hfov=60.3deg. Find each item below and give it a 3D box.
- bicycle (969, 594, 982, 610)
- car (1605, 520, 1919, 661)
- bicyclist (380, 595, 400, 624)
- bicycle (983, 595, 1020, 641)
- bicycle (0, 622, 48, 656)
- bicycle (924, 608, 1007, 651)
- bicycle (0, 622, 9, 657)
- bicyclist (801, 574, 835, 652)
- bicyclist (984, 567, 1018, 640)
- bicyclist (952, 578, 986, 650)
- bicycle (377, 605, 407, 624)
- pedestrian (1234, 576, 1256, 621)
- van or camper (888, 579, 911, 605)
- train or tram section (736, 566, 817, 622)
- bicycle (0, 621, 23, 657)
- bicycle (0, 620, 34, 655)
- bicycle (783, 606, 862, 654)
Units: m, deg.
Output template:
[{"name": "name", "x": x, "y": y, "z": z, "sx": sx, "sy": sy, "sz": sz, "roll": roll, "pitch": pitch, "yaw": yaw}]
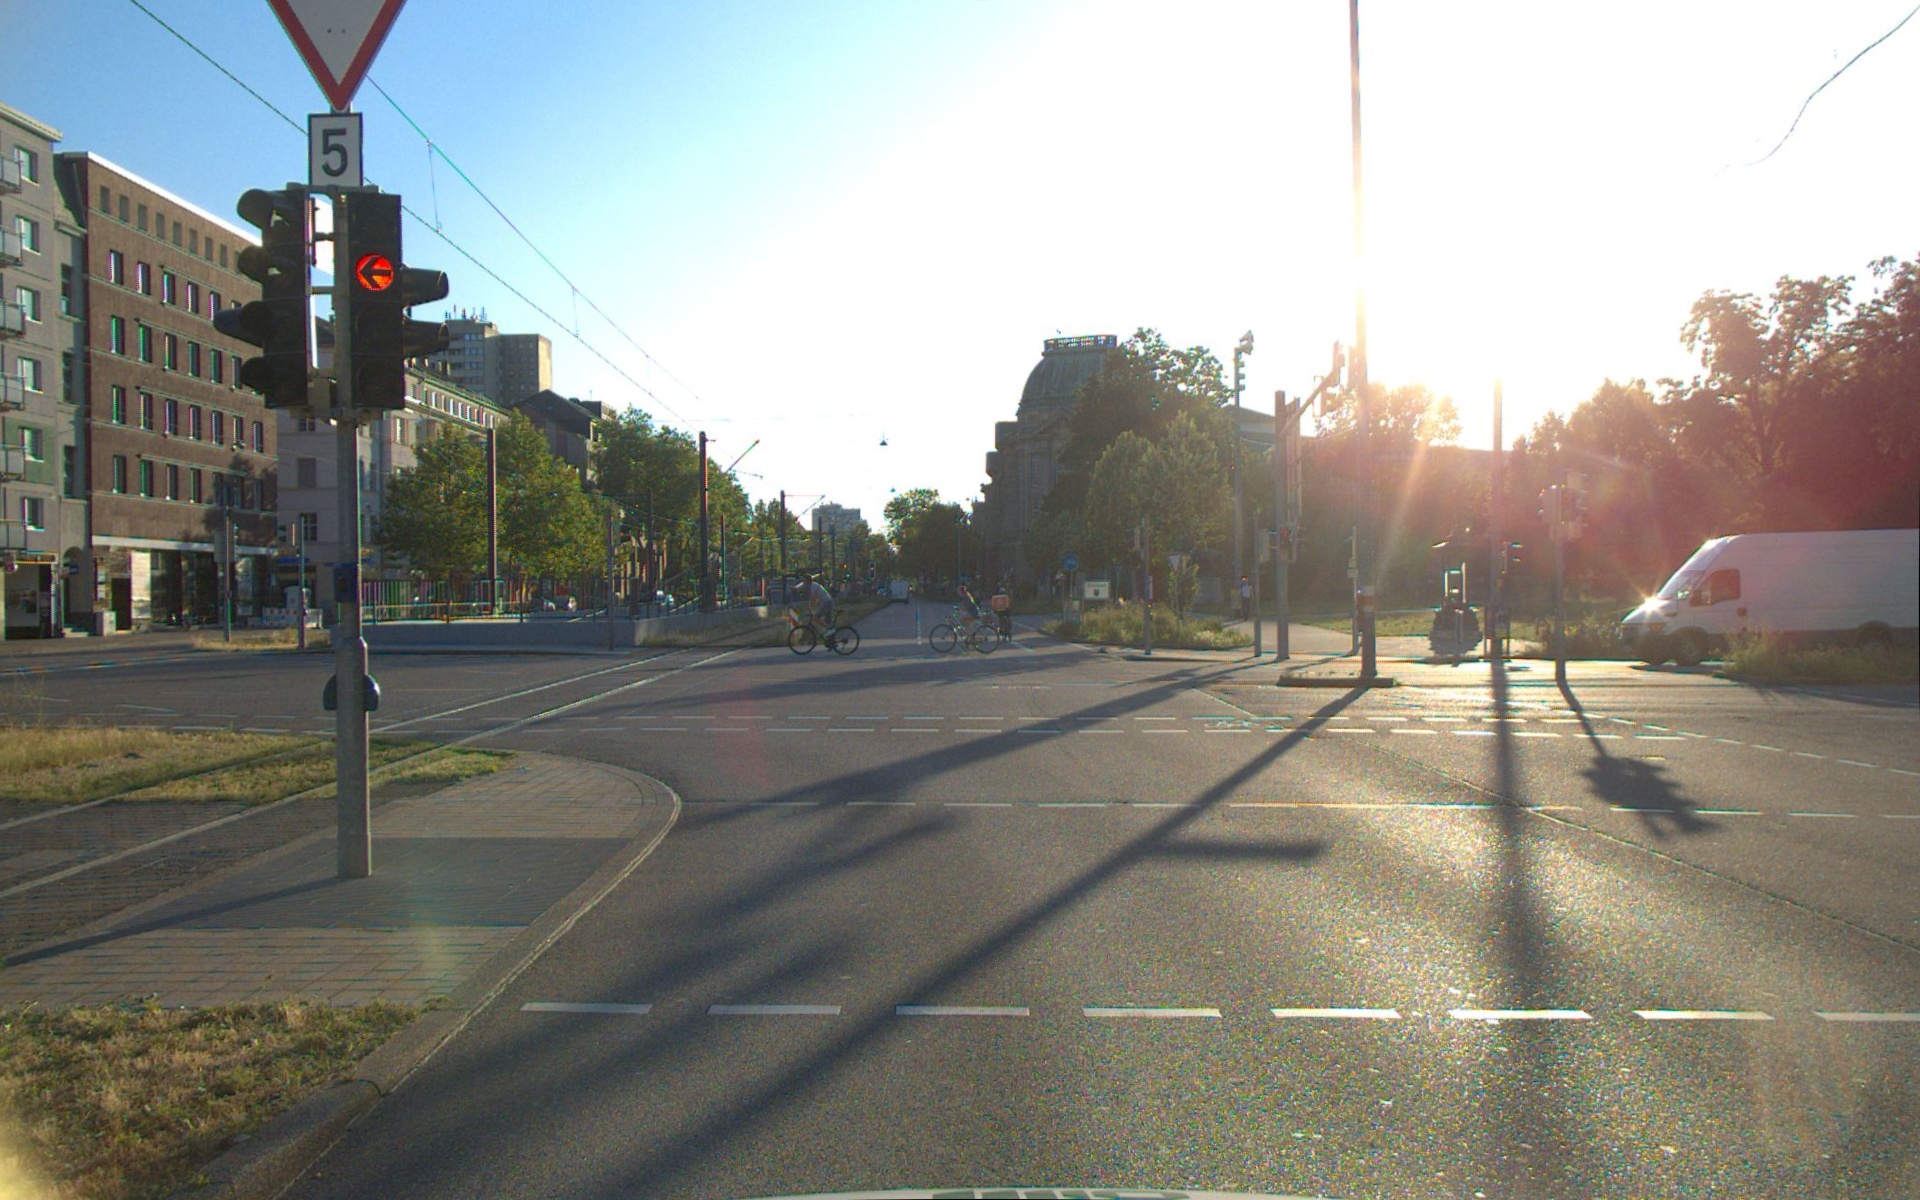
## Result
[{"name": "bicycle", "x": 1.138, "y": 0.120, "z": 120.737, "sx": 0.905, "sy": 1.131, "sz": 2.332, "roll": -1, "pitch": 0, "yaw": -1}, {"name": "car", "x": 17.794, "y": -0.212, "z": 35.754, "sx": 6.866, "sy": 2.877, "sz": 2.093, "roll": -1, "pitch": 0, "yaw": 1}, {"name": "bicyclist", "x": -29.471, "y": 0.478, "z": 85.479, "sx": 0.489, "sy": 1.451, "sz": 0.857, "roll": -1, "pitch": 0, "yaw": 23}, {"name": "bicycle", "x": 1.323, "y": 0.561, "z": 53.208, "sx": 1.075, "sy": 1.423, "sz": 2.831, "roll": -1, "pitch": 0, "yaw": -1}, {"name": "bicycle", "x": -32.857, "y": 1.371, "z": 57.733, "sx": 1.655, "sy": 1.164, "sz": 0.697, "roll": -1, "pitch": 0, "yaw": 1}, {"name": "bicycle", "x": 0.139, "y": 0.754, "z": 42.767, "sx": 2.120, "sy": 1.102, "sz": 0.538, "roll": 0, "pitch": -1, "yaw": -3}, {"name": "bicycle", "x": -32.932, "y": 1.334, "z": 55.471, "sx": 1.655, "sy": 1.173, "sz": 0.705, "roll": -1, "pitch": 0, "yaw": 1}, {"name": "bicyclist", "x": -3.410, "y": 0.318, "z": 39.790, "sx": 0.778, "sy": 1.850, "sz": 0.645, "roll": -1, "pitch": 0, "yaw": -7}, {"name": "bicyclist", "x": 1.315, "y": 0.121, "z": 53.085, "sx": 1.060, "sy": 2.316, "sz": 0.986, "roll": 0, "pitch": 0, "yaw": -1}, {"name": "bicyclist", "x": 0.225, "y": 0.364, "z": 42.774, "sx": 0.858, "sy": 1.850, "sz": 0.538, "roll": 0, "pitch": 0, "yaw": -2}, {"name": "bicycle", "x": -29.412, "y": 0.732, "z": 85.629, "sx": 0.497, "sy": 0.961, "sz": 1.667, "roll": -1, "pitch": 0, "yaw": 23}, {"name": "pedestrian", "x": 11.883, "y": -0.068, "z": 68.845, "sx": 0.815, "sy": 1.835, "sz": 0.811, "roll": -1, "pitch": 0, "yaw": 14}, {"name": "van or camper", "x": -6.623, "y": -0.869, "z": 180.699, "sx": 2.400, "sy": 2.819, "sz": 5.598, "roll": -1, "pitch": 0, "yaw": -3}, {"name": "train or tram section", "x": -14.174, "y": -0.563, "z": 128.846, "sx": 4.294, "sy": 3.916, "sz": 11.418, "roll": -1, "pitch": 2, "yaw": 4}, {"name": "bicycle", "x": -32.908, "y": 1.331, "z": 56.226, "sx": 1.655, "sy": 1.199, "sz": 0.748, "roll": -1, "pitch": 0, "yaw": 1}, {"name": "bicycle", "x": -32.949, "y": 1.288, "z": 57.002, "sx": 1.655, "sy": 1.190, "sz": 0.748, "roll": -1, "pitch": 0, "yaw": 1}, {"name": "bicycle", "x": -3.316, "y": 0.717, "z": 39.817, "sx": 1.865, "sy": 1.094, "sz": 0.631, "roll": -1, "pitch": 0, "yaw": -8}]
